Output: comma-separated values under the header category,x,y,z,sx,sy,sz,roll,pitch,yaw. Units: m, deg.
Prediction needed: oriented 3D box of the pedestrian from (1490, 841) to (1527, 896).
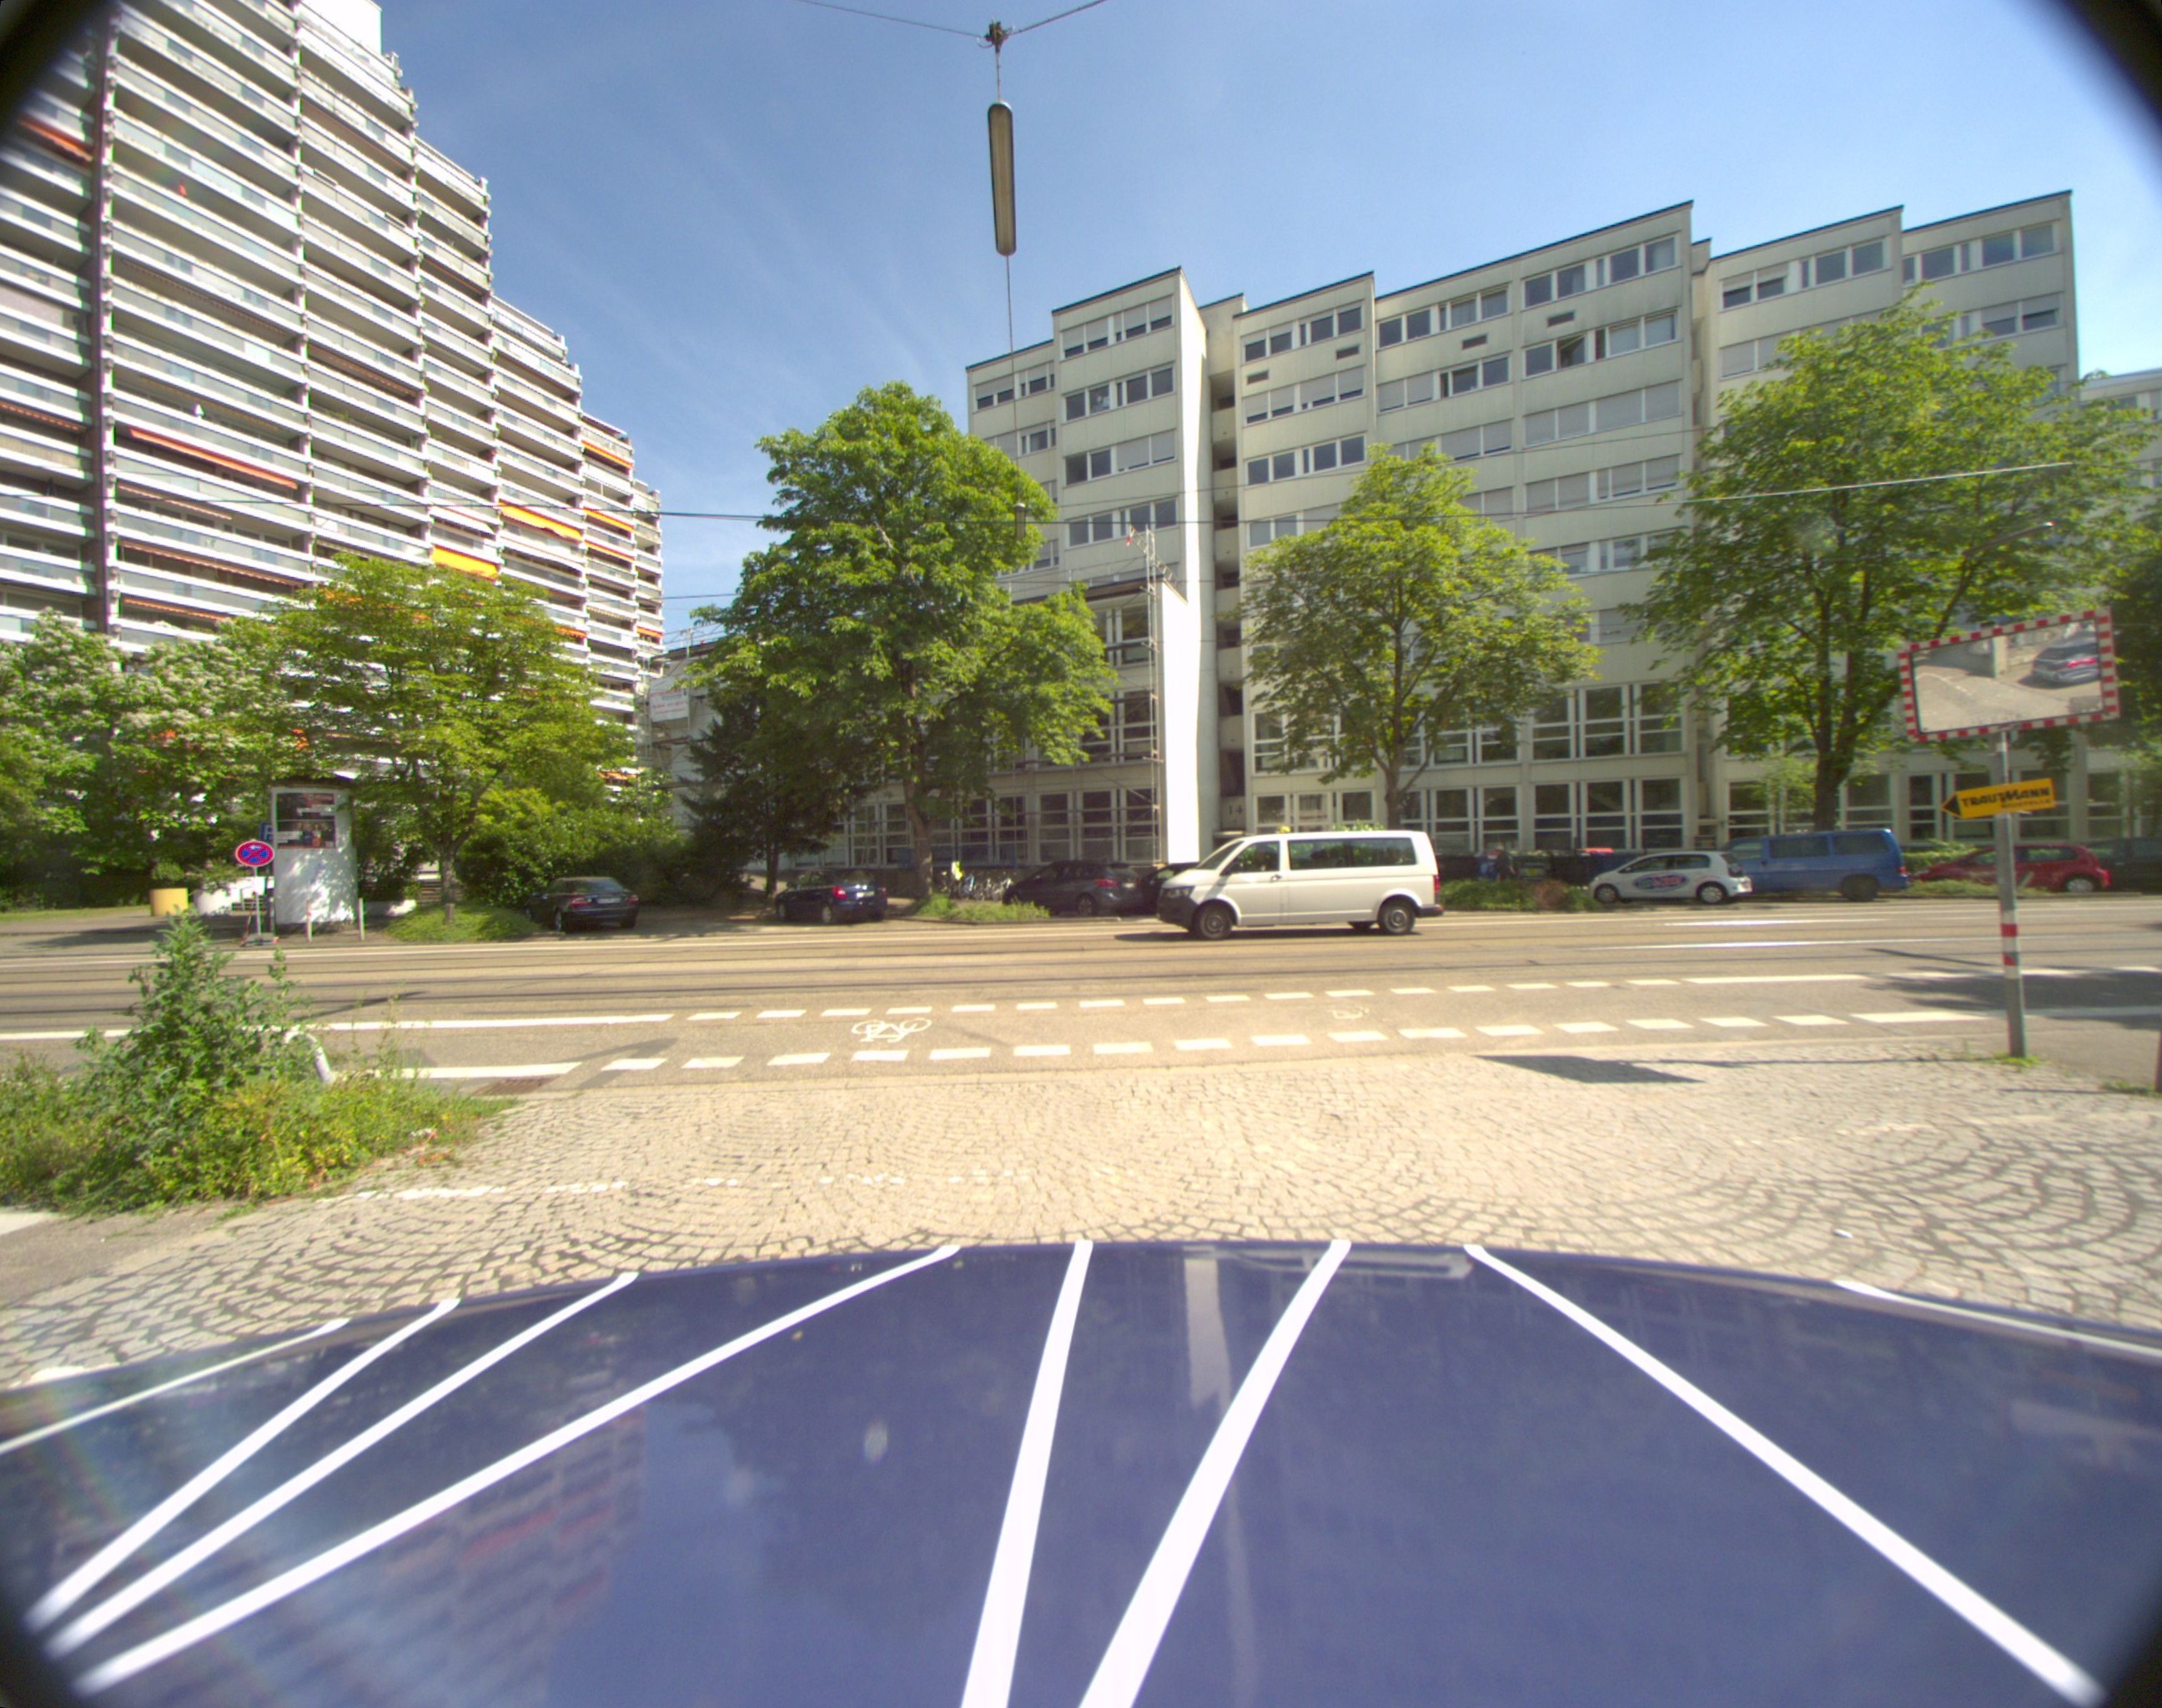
category,x,y,z,sx,sy,sz,roll,pitch,yaw
pedestrian,14.216,0.480,25.293,0.753,1.766,0.731,-2,0,-4

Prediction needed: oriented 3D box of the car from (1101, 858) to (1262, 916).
category,x,y,z,sx,sy,sz,roll,pitch,yaw
car,2.784,0.922,21.614,4.174,1.467,1.805,-2,0,39

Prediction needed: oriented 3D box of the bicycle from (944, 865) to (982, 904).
category,x,y,z,sx,sy,sz,roll,pitch,yaw
bicycle,-4.360,1.100,28.181,0.488,1.370,2.019,-2,0,17

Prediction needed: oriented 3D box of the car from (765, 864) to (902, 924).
category,x,y,z,sx,sy,sz,roll,pitch,yaw
car,-6.852,1.048,20.820,3.974,1.440,1.807,-2,0,43

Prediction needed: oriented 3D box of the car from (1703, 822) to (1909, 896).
category,x,y,z,sx,sy,sz,roll,pitch,yaw
car,20.038,0.193,21.227,3.989,1.895,1.791,-3,-1,42

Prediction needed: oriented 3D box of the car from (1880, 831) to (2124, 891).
category,x,y,z,sx,sy,sz,roll,pitch,yaw
car,26.155,0.250,21.854,4.208,1.529,1.786,-3,-1,42

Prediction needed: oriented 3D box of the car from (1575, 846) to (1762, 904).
category,x,y,z,sx,sy,sz,roll,pitch,yaw
car,16.506,0.575,21.528,1.713,1.455,3.840,-2,0,-36

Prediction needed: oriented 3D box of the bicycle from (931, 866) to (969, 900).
category,x,y,z,sx,sy,sz,roll,pitch,yaw
bicycle,-4.894,1.082,28.543,0.488,1.193,2.019,-2,0,17

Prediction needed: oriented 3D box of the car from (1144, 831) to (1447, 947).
category,x,y,z,sx,sy,sz,roll,pitch,yaw
car,3.983,0.639,14.747,5.246,1.934,1.996,-2,0,-2

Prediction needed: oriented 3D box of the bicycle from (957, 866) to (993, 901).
category,x,y,z,sx,sy,sz,roll,pitch,yaw
bicycle,-3.896,1.081,28.045,0.488,1.193,2.019,-2,0,17

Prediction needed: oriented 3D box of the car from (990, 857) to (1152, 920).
category,x,y,z,sx,sy,sz,roll,pitch,yaw
car,-0.367,0.943,21.285,4.378,1.556,1.811,-2,0,41

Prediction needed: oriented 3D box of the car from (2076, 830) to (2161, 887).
category,x,y,z,sx,sy,sz,roll,pitch,yaw
car,32.478,0.077,22.094,3.989,1.630,1.836,-3,-1,42

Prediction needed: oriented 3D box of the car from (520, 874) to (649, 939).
category,x,y,z,sx,sy,sz,roll,pitch,yaw
car,-13.413,1.315,20.441,4.135,1.402,1.846,0,3,42

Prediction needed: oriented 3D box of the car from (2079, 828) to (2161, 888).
category,x,y,z,sx,sy,sz,roll,pitch,yaw
car,30.653,0.060,20.641,3.989,1.630,1.807,-3,-1,42

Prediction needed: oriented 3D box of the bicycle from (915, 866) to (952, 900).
category,x,y,z,sx,sy,sz,roll,pitch,yaw
bicycle,-5.599,1.077,28.923,0.488,1.193,2.019,-2,0,16

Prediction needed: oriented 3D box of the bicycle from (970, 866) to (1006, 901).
category,x,y,z,sx,sy,sz,roll,pitch,yaw
bicycle,-3.394,1.056,27.894,0.488,1.193,2.019,-2,0,17

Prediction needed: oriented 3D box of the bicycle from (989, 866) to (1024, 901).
category,x,y,z,sx,sy,sz,roll,pitch,yaw
bicycle,-2.686,1.057,27.673,0.488,1.193,2.019,-2,0,17
